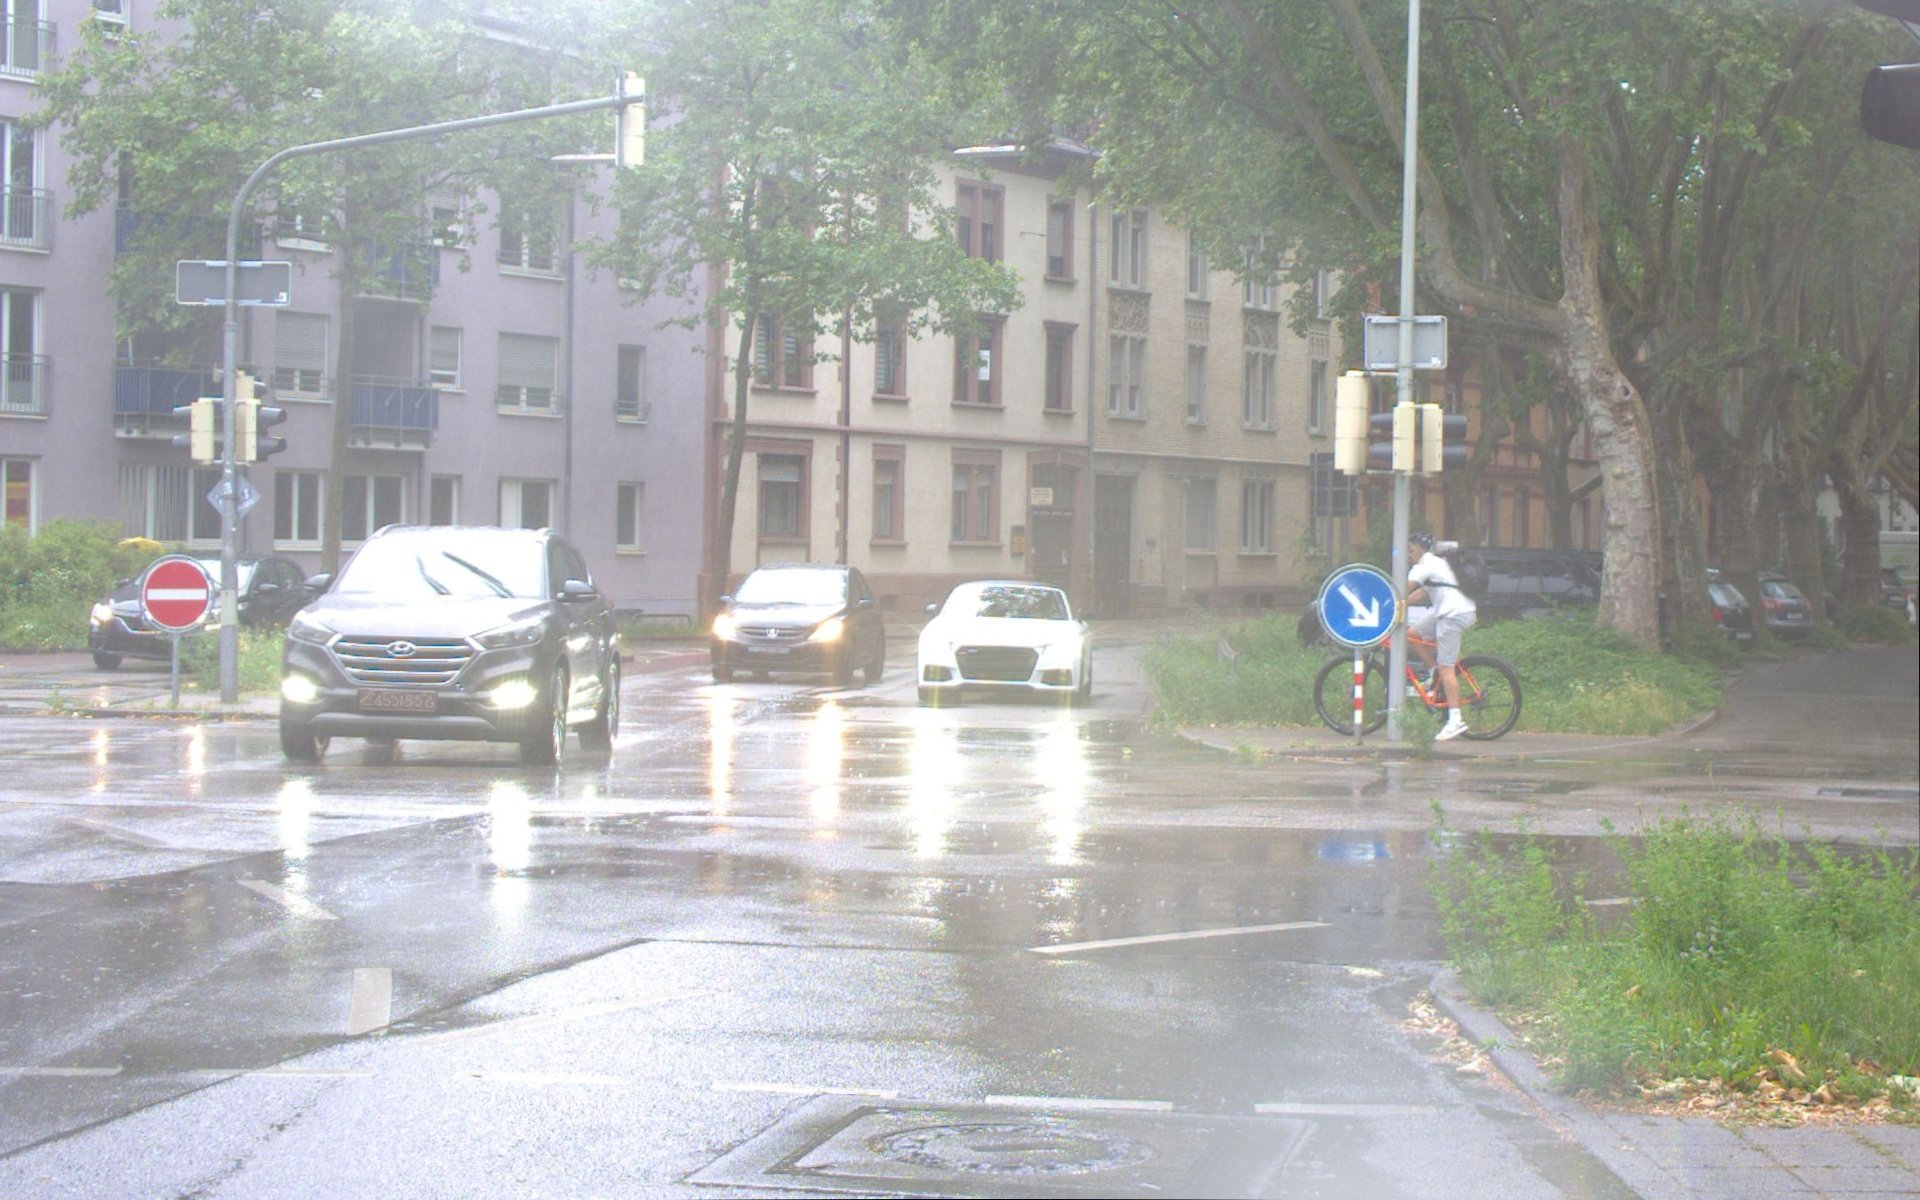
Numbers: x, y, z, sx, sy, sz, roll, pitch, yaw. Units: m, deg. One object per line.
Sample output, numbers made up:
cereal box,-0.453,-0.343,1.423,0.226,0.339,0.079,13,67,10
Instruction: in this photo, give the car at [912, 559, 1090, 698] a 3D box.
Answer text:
car,0.494,0.284,39.080,1.884,1.431,4.000,1,1,1

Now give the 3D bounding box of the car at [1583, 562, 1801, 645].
car,13.928,0.056,65.451,3.989,1.481,1.999,1,1,12

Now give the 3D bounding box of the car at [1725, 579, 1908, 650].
car,19.560,0.310,78.651,3.989,1.542,1.999,1,1,12

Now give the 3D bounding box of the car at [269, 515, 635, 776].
car,-3.483,0.244,24.400,1.803,1.677,4.603,0,1,2

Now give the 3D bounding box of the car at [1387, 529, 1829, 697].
car,6.162,0.102,32.698,3.989,1.481,1.999,1,1,12

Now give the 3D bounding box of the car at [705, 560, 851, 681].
car,-2.270,0.231,43.624,1.714,1.454,3.748,1,1,-1

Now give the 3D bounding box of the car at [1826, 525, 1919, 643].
car,24.379,-0.412,87.713,2.033,2.938,4.773,1,1,-21

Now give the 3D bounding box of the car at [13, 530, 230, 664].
car,-10.054,-0.066,41.489,1.751,1.506,3.839,1,1,-2

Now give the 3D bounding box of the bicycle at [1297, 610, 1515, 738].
bicycle,3.941,0.644,30.391,1.873,1.077,0.657,1,0,8

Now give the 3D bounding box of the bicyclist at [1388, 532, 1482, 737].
bicyclist,4.191,0.297,30.357,0.795,1.780,0.697,1,0,8
